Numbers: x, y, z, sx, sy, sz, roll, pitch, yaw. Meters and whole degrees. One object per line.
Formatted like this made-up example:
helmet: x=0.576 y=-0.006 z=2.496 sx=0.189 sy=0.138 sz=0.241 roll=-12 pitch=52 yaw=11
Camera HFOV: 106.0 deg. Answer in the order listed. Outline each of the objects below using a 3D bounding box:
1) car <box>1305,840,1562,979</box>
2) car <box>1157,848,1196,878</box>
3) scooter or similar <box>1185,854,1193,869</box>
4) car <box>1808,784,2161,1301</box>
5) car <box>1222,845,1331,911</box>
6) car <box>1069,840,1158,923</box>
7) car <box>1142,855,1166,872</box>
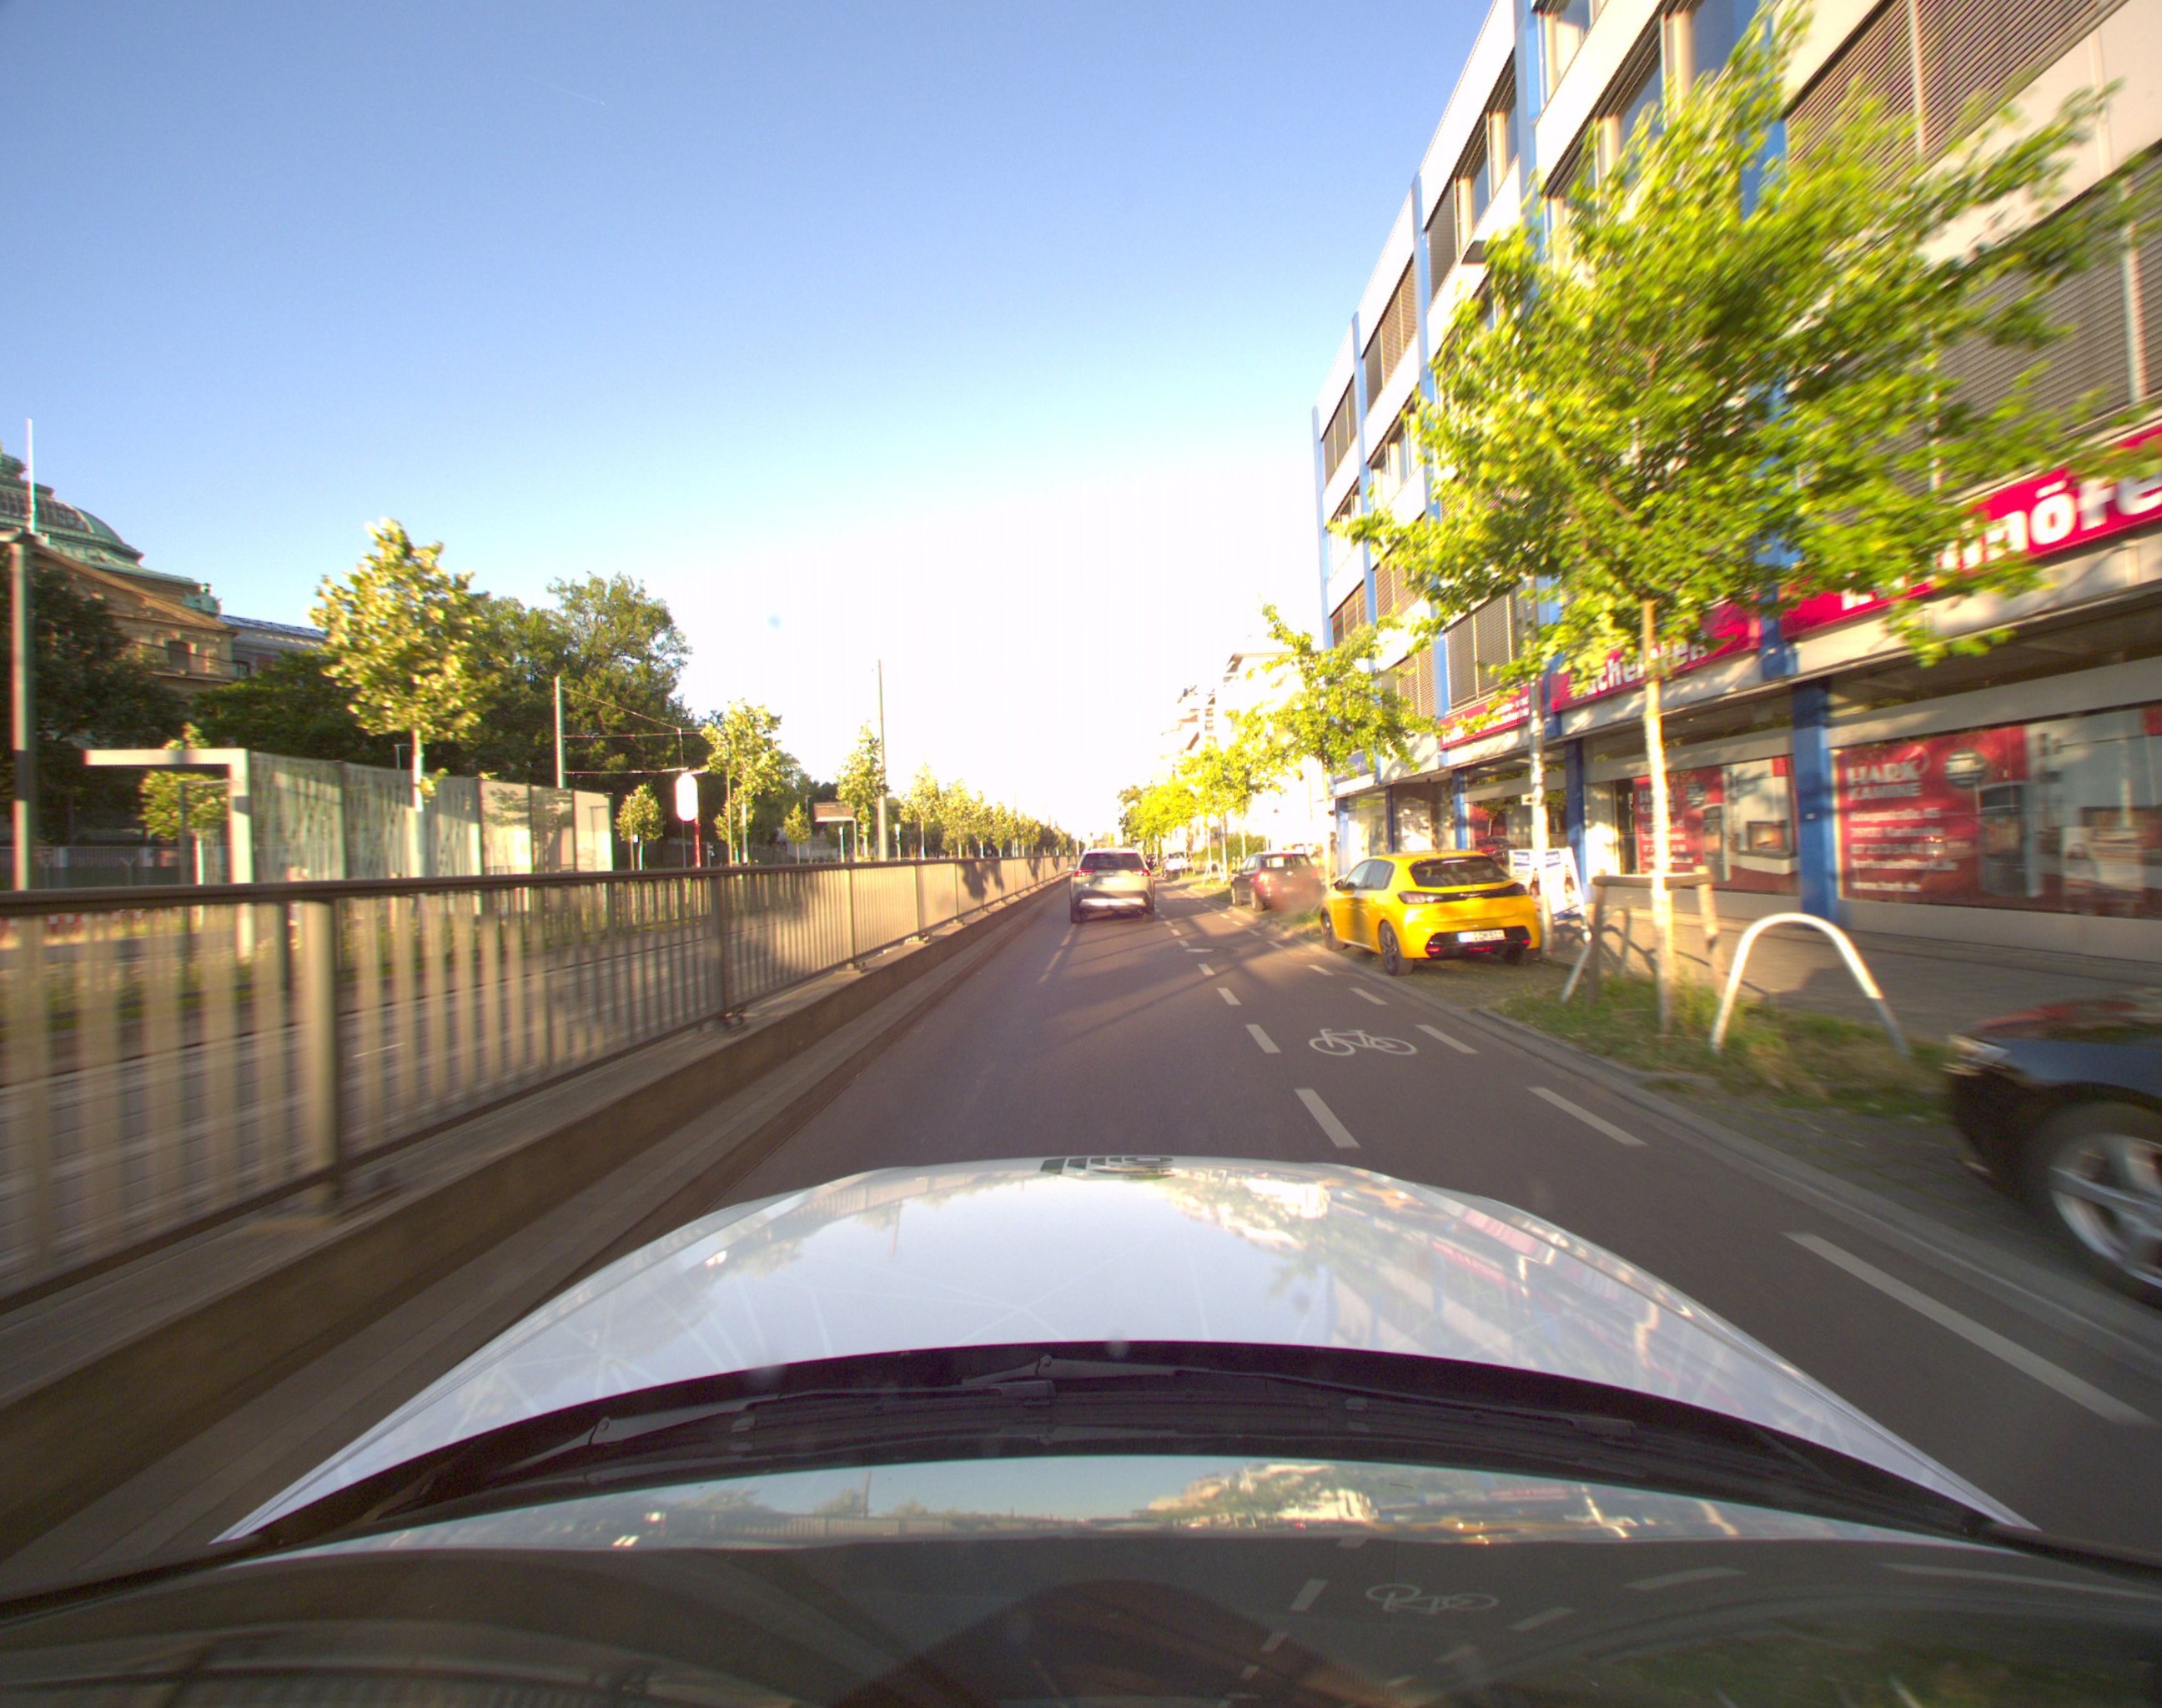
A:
car: x=4.486 y=0.632 z=11.119 sx=1.678 sy=1.454 sz=4.129 roll=-3 pitch=0 yaw=0
car: x=5.886 y=0.558 z=50.646 sx=1.848 sy=1.706 sz=4.254 roll=-2 pitch=0 yaw=0
scooter or similar: x=9.514 y=0.682 z=71.682 sx=0.489 sy=1.258 sz=1.207 roll=-1 pitch=-1 yaw=-1
car: x=4.210 y=0.525 z=1.231 sx=1.813 sy=1.566 sz=4.810 roll=-6 pitch=0 yaw=0
car: x=4.997 y=0.589 z=21.365 sx=1.813 sy=1.454 sz=4.128 roll=-3 pitch=0 yaw=0
car: x=0.687 y=0.597 z=19.185 sx=1.852 sy=1.714 sz=4.192 roll=0 pitch=-1 yaw=0
car: x=7.185 y=0.895 z=80.069 sx=1.787 sy=1.471 sz=4.443 roll=-5 pitch=0 yaw=-1
